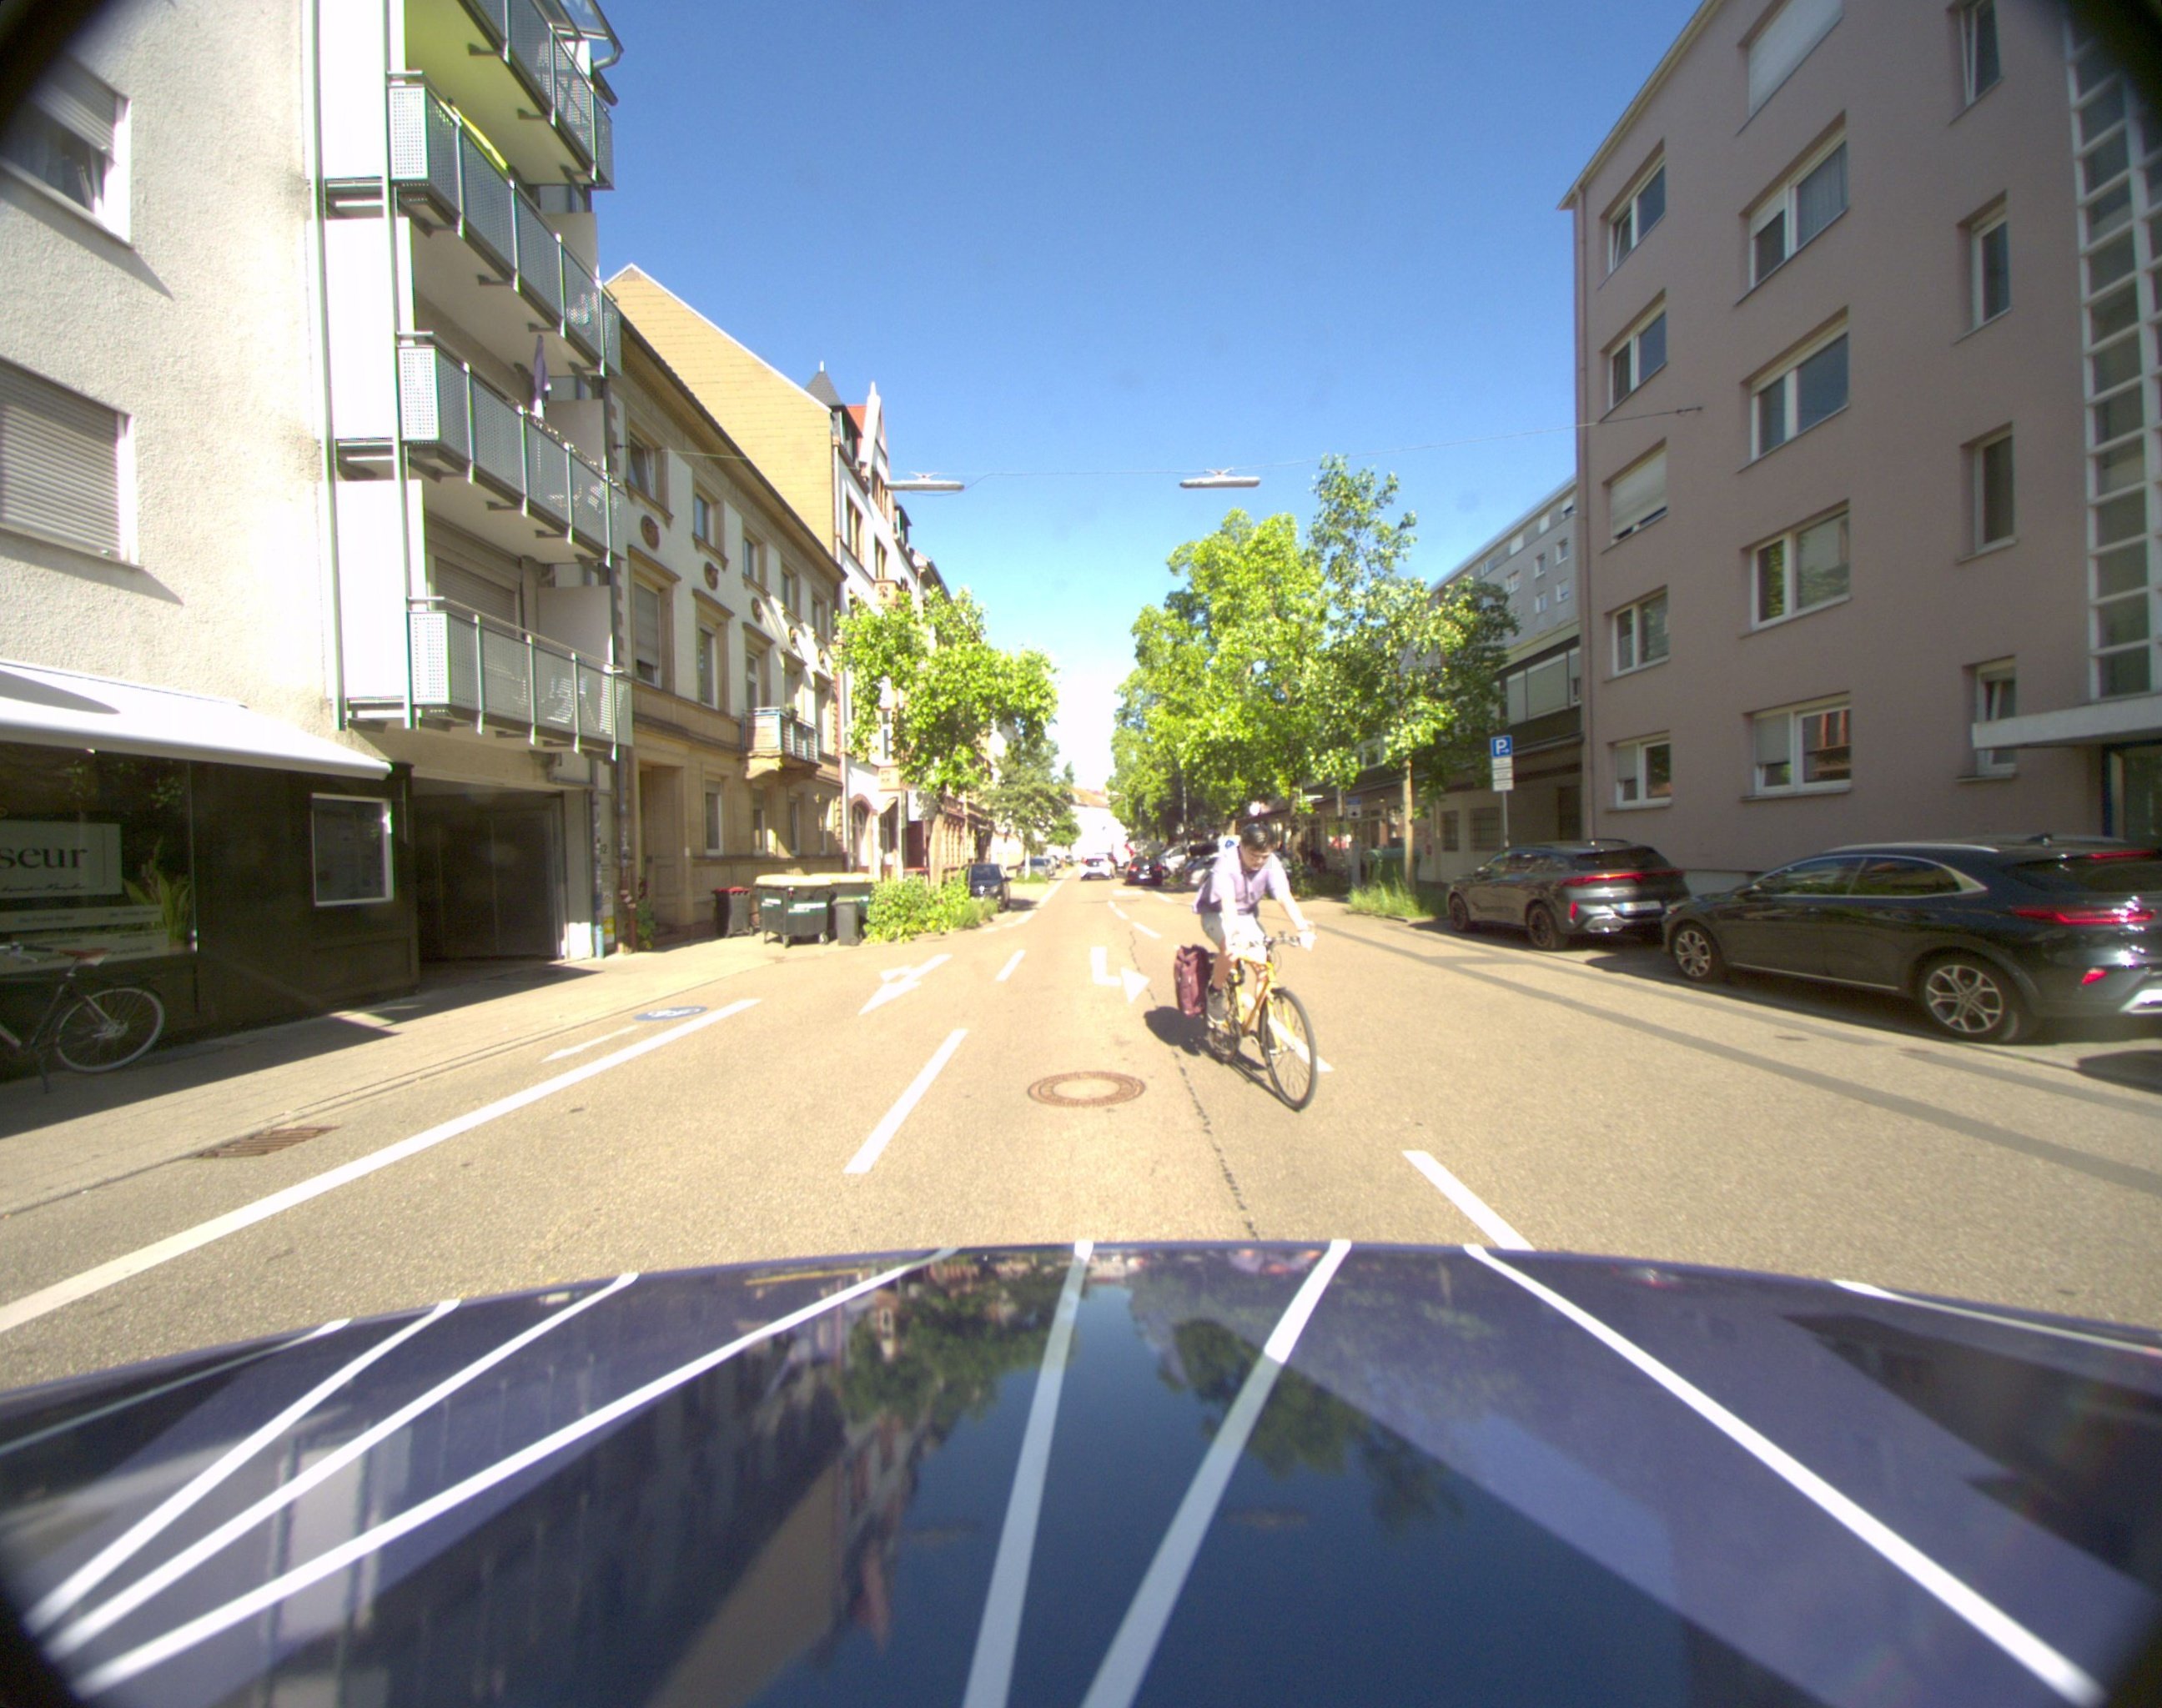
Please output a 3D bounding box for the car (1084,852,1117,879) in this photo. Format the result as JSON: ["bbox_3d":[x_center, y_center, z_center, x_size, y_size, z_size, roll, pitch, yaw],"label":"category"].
[{"bbox_3d":[1.194,0.653,45.503,1.769,1.528,3.787,-2,0,4],"label":"car"}]

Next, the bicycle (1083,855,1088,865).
[{"bbox_3d":[0.605,0.785,95.643,0.570,1.139,2.259,-3,1,1],"label":"bicycle"}]

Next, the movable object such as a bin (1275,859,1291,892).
[{"bbox_3d":[7.617,0.796,28.678,0.488,1.218,0.409,-2,1,1],"label":"movable object such as a bin"}]

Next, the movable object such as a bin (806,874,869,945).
[{"bbox_3d":[-5.088,1.126,15.857,0.960,1.341,1.066,-1,2,-38],"label":"movable object such as a bin"}]

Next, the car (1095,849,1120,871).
[{"bbox_3d":[2.239,0.458,64.446,1.994,1.599,4.259,-3,3,1],"label":"car"}]

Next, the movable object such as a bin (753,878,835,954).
[{"bbox_3d":[-5.591,1.163,14.781,1.212,1.318,1.052,2,3,42],"label":"movable object such as a bin"}]

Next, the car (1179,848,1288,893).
[{"bbox_3d":[6.086,0.646,30.671,3.997,1.665,2.000,-2,1,1],"label":"car"}]

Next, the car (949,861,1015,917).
[{"bbox_3d":[-2.972,1.017,23.368,1.551,1.483,3.351,-2,0,0],"label":"car"}]

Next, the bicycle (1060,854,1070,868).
[{"bbox_3d":[-1.409,0.636,69.067,0.778,1.139,2.259,-3,1,1],"label":"bicycle"}]

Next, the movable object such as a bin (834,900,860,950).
[{"bbox_3d":[-4.582,1.388,14.892,0.401,0.916,0.484,0,2,-7],"label":"movable object such as a bin"}]

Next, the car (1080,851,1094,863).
[{"bbox_3d":[0.874,0.407,109.543,1.826,1.617,4.000,-2,0,1],"label":"car"}]

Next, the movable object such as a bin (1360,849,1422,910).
[{"bbox_3d":[8.132,0.649,19.996,1.247,1.536,1.019,-1,1,5],"label":"movable object such as a bin"}]

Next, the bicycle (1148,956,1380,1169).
[{"bbox_3d":[1.063,1.214,4.911,0.612,0.876,1.811,-1,-1,-17],"label":"bicycle"}]

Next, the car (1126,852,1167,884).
[{"bbox_3d":[3.182,0.644,37.567,1.867,1.455,4.000,-2,0,3],"label":"car"}]

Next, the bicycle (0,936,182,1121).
[{"bbox_3d":[-7.750,1.284,5.450,0.402,1.171,1.792,-2,0,1],"label":"bicycle"}]

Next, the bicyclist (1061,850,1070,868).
[{"bbox_3d":[-1.418,0.408,69.090,0.748,1.588,0.613,-3,1,1],"label":"bicyclist"}]

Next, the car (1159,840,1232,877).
[{"bbox_3d":[6.705,0.275,44.779,3.997,2.020,2.000,-2,1,1],"label":"car"}]

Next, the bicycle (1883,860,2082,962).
[{"bbox_3d":[10.757,0.632,9.157,0.391,1.070,1.650,-6,1,2],"label":"bicycle"}]

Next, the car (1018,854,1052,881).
[{"bbox_3d":[-2.747,0.769,45.891,1.759,1.492,3.949,-2,0,0],"label":"car"}]

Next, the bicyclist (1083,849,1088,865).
[{"bbox_3d":[0.584,0.400,95.666,0.578,1.911,0.613,-3,1,1],"label":"bicyclist"}]

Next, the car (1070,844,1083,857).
[{"bbox_3d":[-0.662,-0.544,126.529,1.998,2.002,4.000,-2,0,1],"label":"car"}]

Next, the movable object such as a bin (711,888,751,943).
[{"bbox_3d":[-7.322,1.273,15.896,0.615,1.075,0.568,2,3,42],"label":"movable object such as a bin"}]

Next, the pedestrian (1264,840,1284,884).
[{"bbox_3d":[8.915,0.359,35.150,0.753,2.002,0.566,-1,1,1],"label":"pedestrian"}]

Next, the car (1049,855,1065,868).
[{"bbox_3d":[-2.730,0.846,85.969,1.653,1.447,3.290,-2,0,1],"label":"car"}]

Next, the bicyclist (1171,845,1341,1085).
[{"bbox_3d":[1.073,0.633,4.851,0.610,1.338,1.017,-1,0,-16],"label":"bicyclist"}]

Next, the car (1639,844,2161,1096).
[{"bbox_3d":[7.513,0.721,6.908,1.821,1.499,4.245,-4,0,2],"label":"car"}]

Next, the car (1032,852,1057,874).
[{"bbox_3d":[-2.633,0.657,55.206,1.653,1.483,3.290,-2,0,0],"label":"car"}]

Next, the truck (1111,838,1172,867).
[{"bbox_3d":[5.703,-0.183,71.689,5.322,2.581,1.998,-2,1,-9],"label":"truck"}]

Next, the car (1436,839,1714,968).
[{"bbox_3d":[7.587,0.659,12.260,1.821,1.583,4.141,-5,0,2],"label":"car"}]
